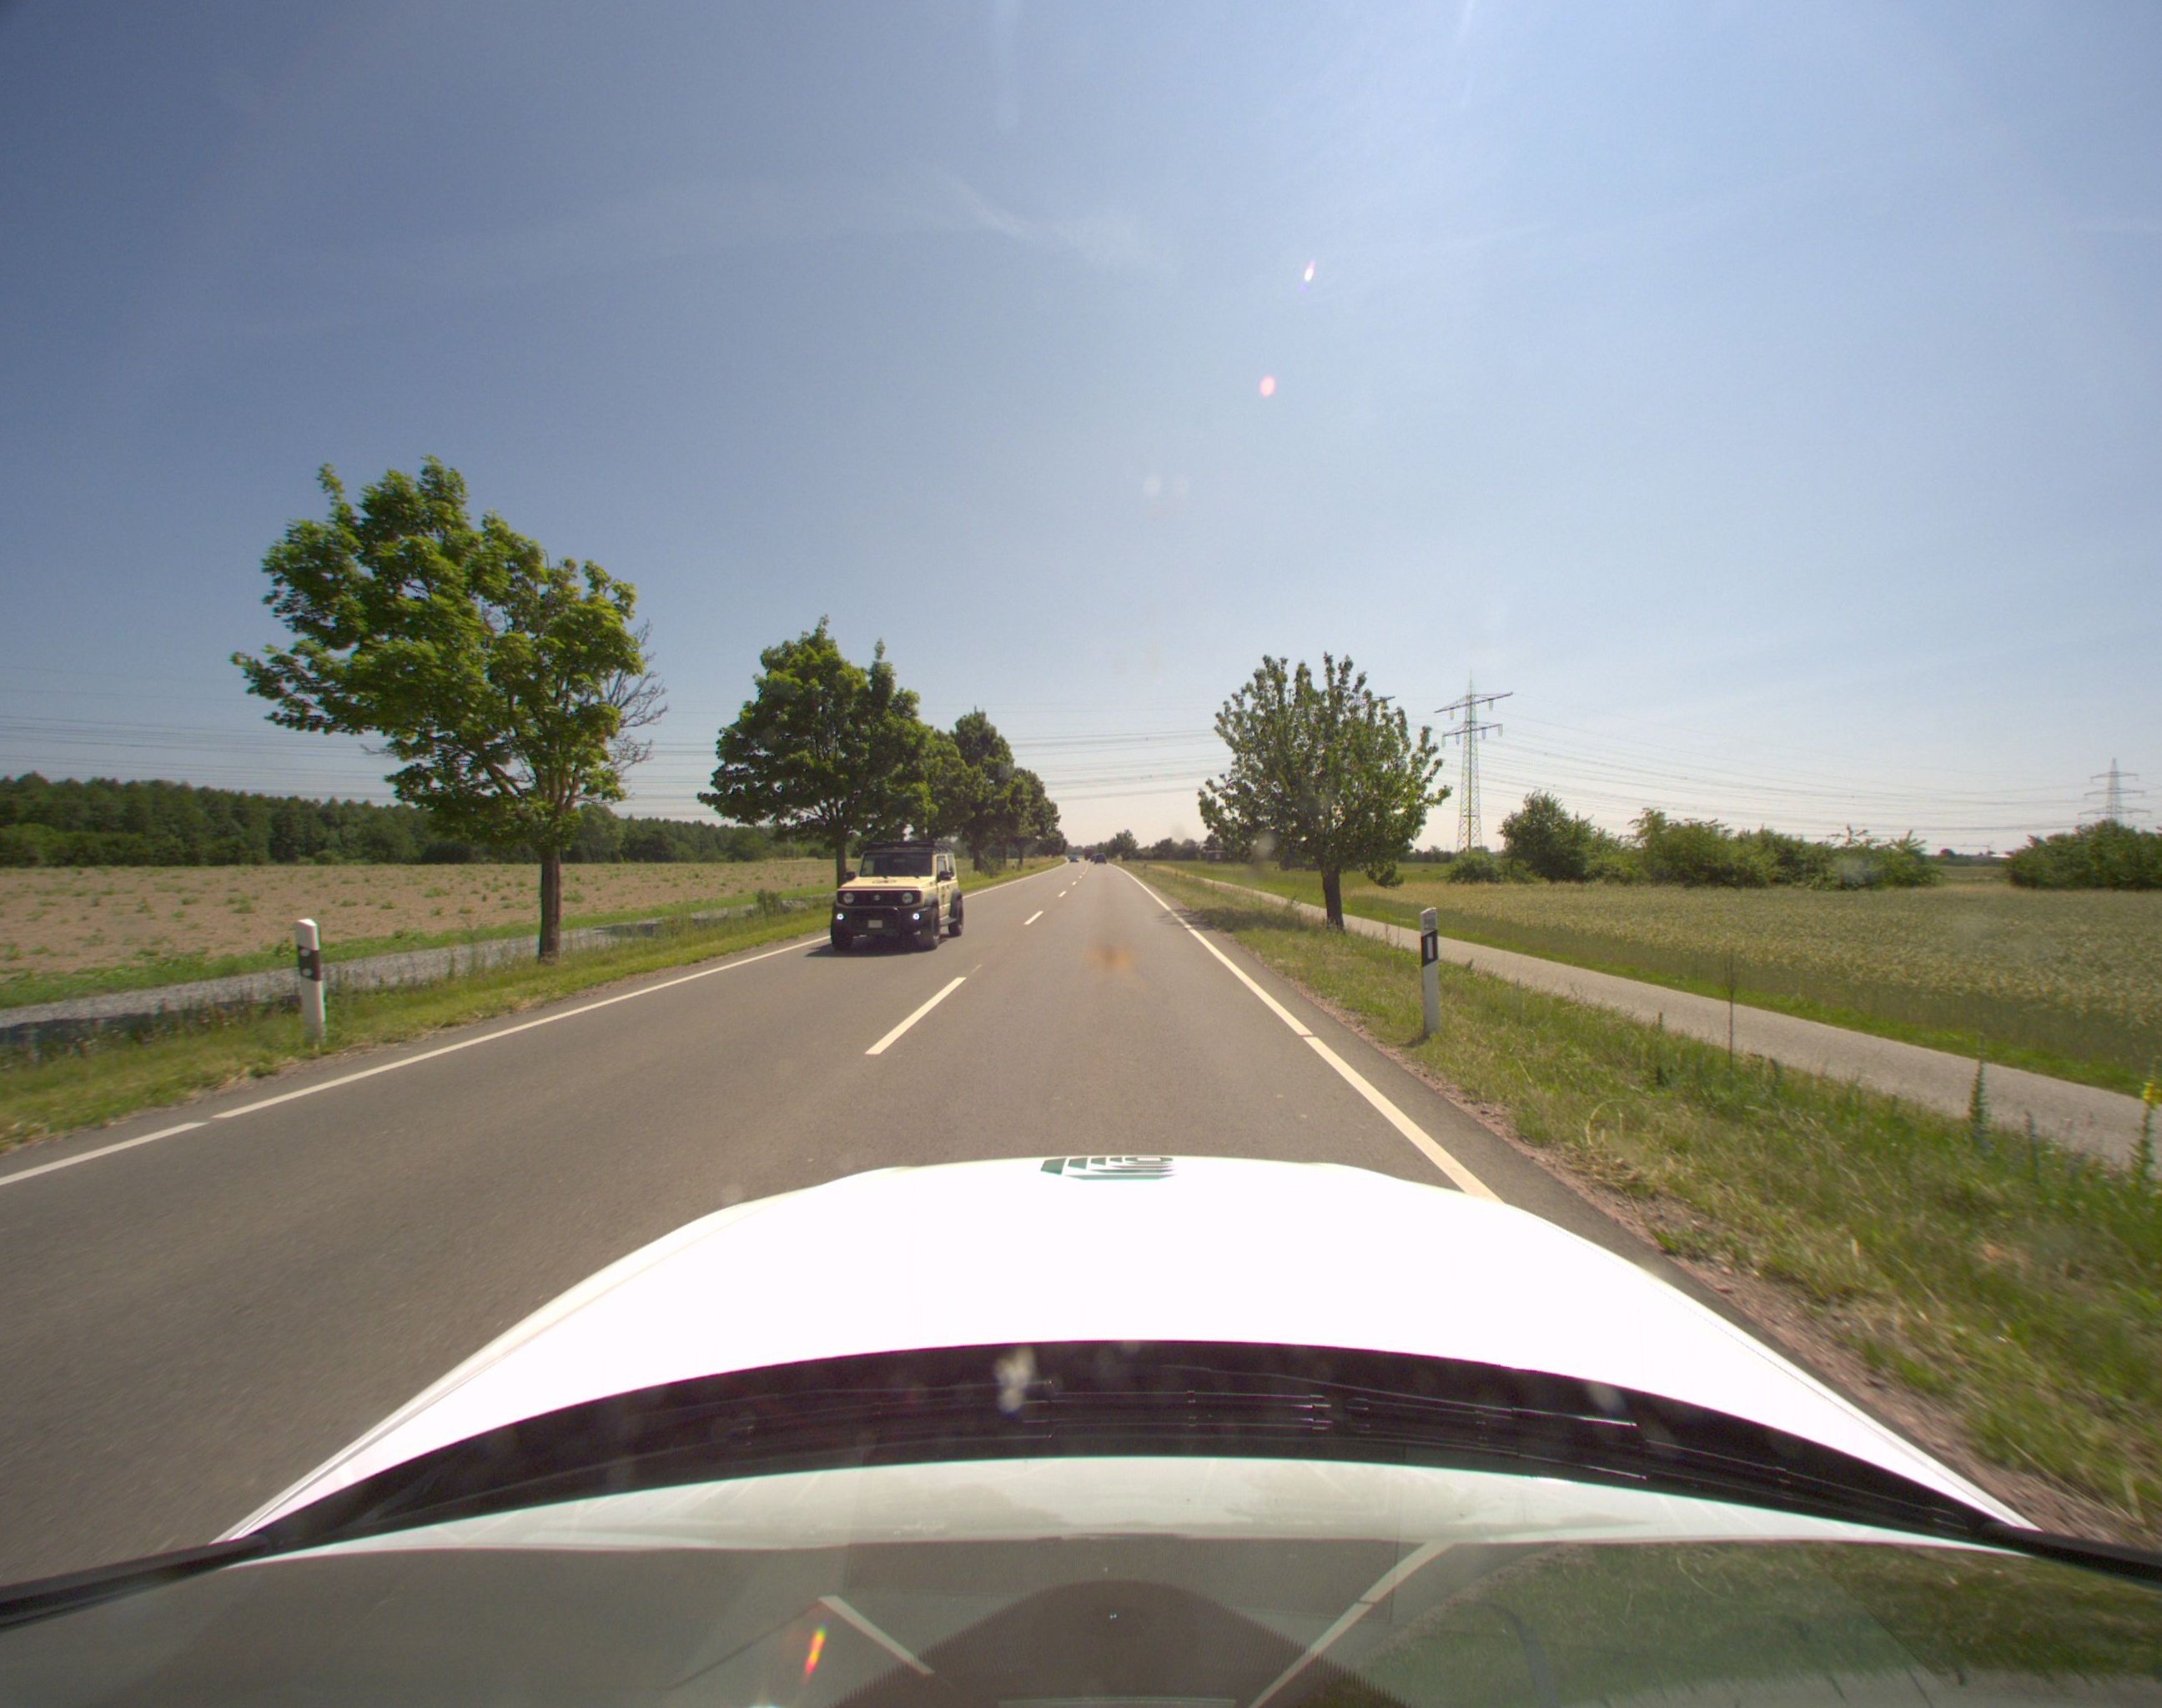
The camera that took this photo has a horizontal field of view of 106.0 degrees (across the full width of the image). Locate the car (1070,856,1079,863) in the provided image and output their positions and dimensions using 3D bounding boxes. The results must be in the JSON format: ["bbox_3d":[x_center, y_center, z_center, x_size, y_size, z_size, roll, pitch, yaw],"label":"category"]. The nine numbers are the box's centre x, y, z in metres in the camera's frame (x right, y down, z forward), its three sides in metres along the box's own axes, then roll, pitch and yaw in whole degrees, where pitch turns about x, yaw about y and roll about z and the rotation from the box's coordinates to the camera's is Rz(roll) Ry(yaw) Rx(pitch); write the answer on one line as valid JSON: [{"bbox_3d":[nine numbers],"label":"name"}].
[{"bbox_3d":[-1.260,1.074,161.127,1.700,1.332,3.998,-1,0,-1],"label":"car"}]

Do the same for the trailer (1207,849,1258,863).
[{"bbox_3d":[38.469,0.594,207.223,12.380,3.473,3.802,1,0,-3],"label":"trailer"}]

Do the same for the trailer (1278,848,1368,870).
[{"bbox_3d":[38.465,0.796,129.732,13.470,3.475,3.275,0,0,-1],"label":"trailer"}]

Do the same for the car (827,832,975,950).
[{"bbox_3d":[-3.114,0.602,14.877,1.675,1.849,4.001,-1,0,2],"label":"car"}]

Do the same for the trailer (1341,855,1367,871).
[{"bbox_3d":[42.570,1.457,127.221,3.397,2.462,2.037,0,0,-1],"label":"trailer"}]

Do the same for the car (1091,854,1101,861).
[{"bbox_3d":[3.032,0.684,167.649,1.845,1.523,3.998,-1,0,-1],"label":"car"}]

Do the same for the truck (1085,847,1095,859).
[{"bbox_3d":[2.390,-0.178,216.250,2.365,3.140,8.740,-1,0,-2],"label":"truck"}]

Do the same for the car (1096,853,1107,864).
[{"bbox_3d":[3.219,0.753,130.552,1.709,1.694,3.989,-1,0,1],"label":"car"}]
